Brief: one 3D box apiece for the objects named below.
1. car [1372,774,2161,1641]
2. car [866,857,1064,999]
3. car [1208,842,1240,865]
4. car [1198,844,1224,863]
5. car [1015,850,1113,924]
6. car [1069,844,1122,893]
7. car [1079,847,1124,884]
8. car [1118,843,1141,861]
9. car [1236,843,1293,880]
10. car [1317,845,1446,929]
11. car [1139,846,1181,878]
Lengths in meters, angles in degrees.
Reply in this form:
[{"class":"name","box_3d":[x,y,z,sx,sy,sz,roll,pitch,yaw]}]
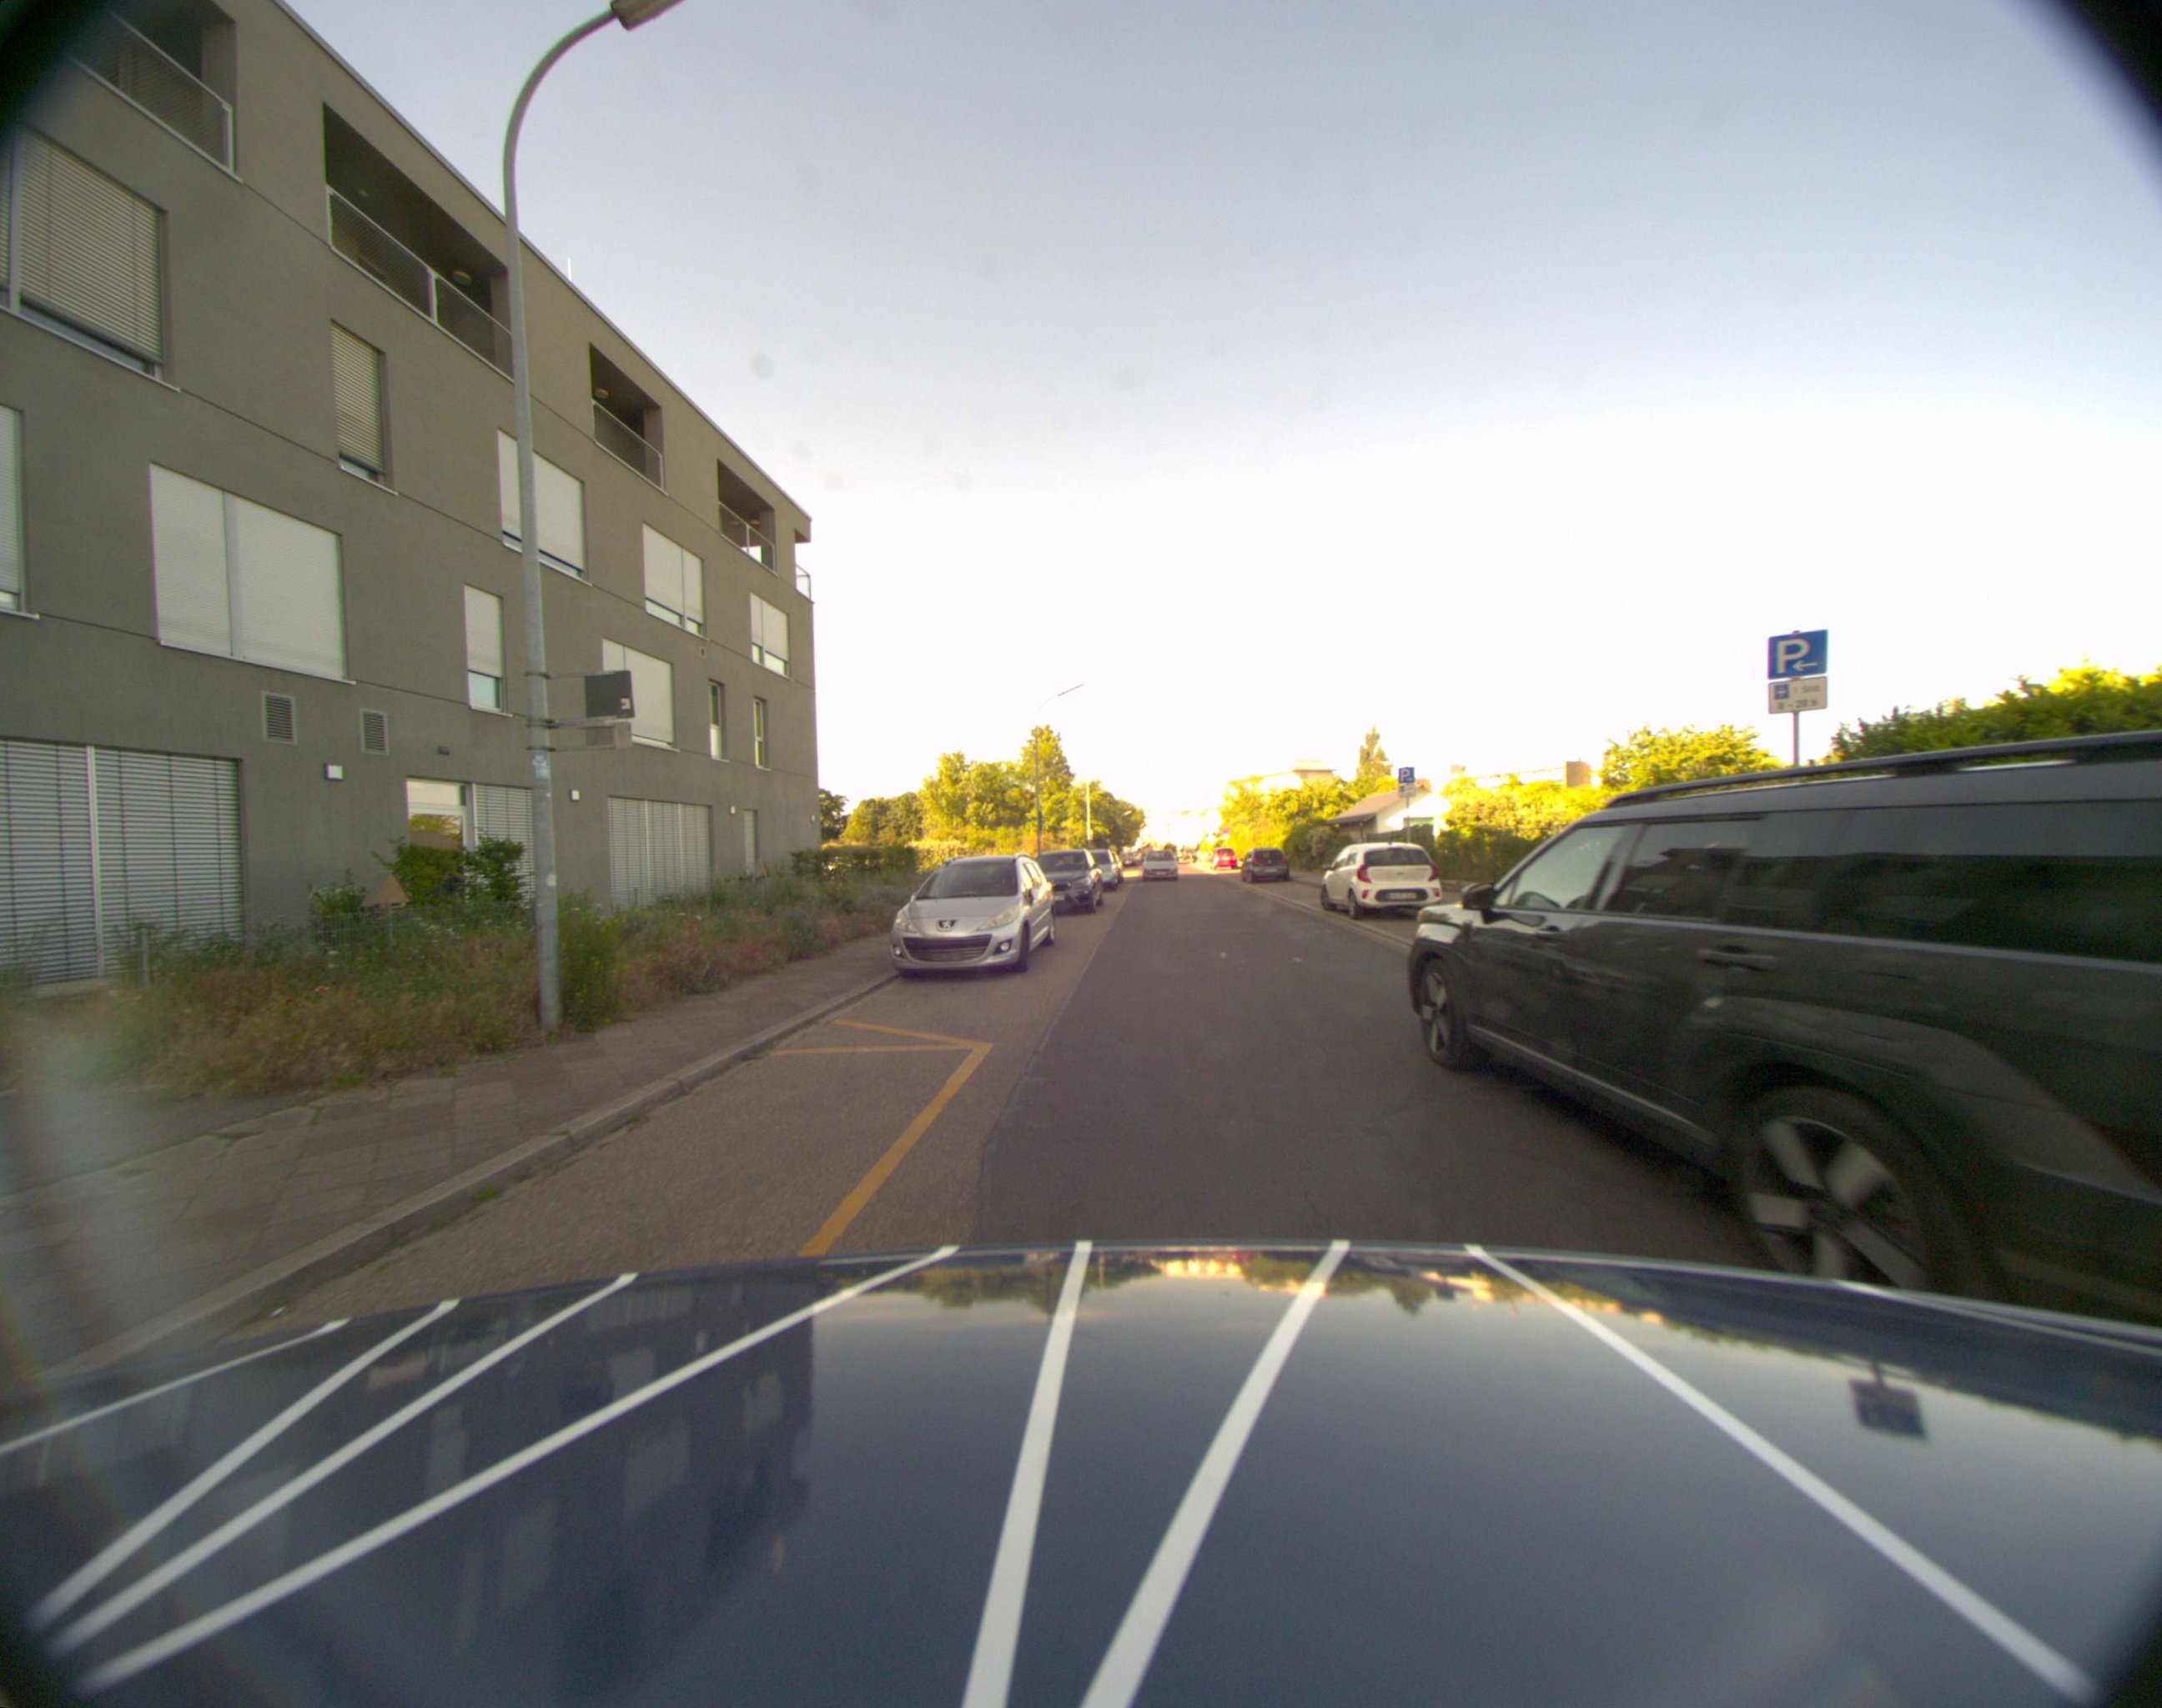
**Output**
[{"class":"car","box_3d":[3.155,0.682,3.380,1.947,1.717,4.838,0,1,1]},{"class":"car","box_3d":[-1.408,0.876,10.935,1.710,1.517,4.156,-3,1,6]},{"class":"car","box_3d":[9.590,-0.052,51.249,1.699,1.421,4.387,-2,1,5]},{"class":"car","box_3d":[10.402,-0.064,61.125,1.699,1.361,3.911,-2,1,5]},{"class":"car","box_3d":[-0.299,0.745,19.875,1.748,1.557,4.805,-3,1,7]},{"class":"car","box_3d":[0.650,0.511,30.240,1.710,1.695,4.350,-4,0,4]},{"class":"car","box_3d":[0.992,0.496,35.074,1.710,1.517,3.094,-4,1,6]},{"class":"car","box_3d":[4.561,-0.187,70.438,1.872,1.517,4.156,-2,1,6]},{"class":"car","box_3d":[7.940,0.276,33.240,1.699,1.415,4.518,-4,0,5]},{"class":"car","box_3d":[6.038,0.595,15.638,1.531,1.479,3.403,-2,1,5]},{"class":"car","box_3d":[3.801,0.342,37.073,1.679,1.440,4.000,-2,1,1]}]
